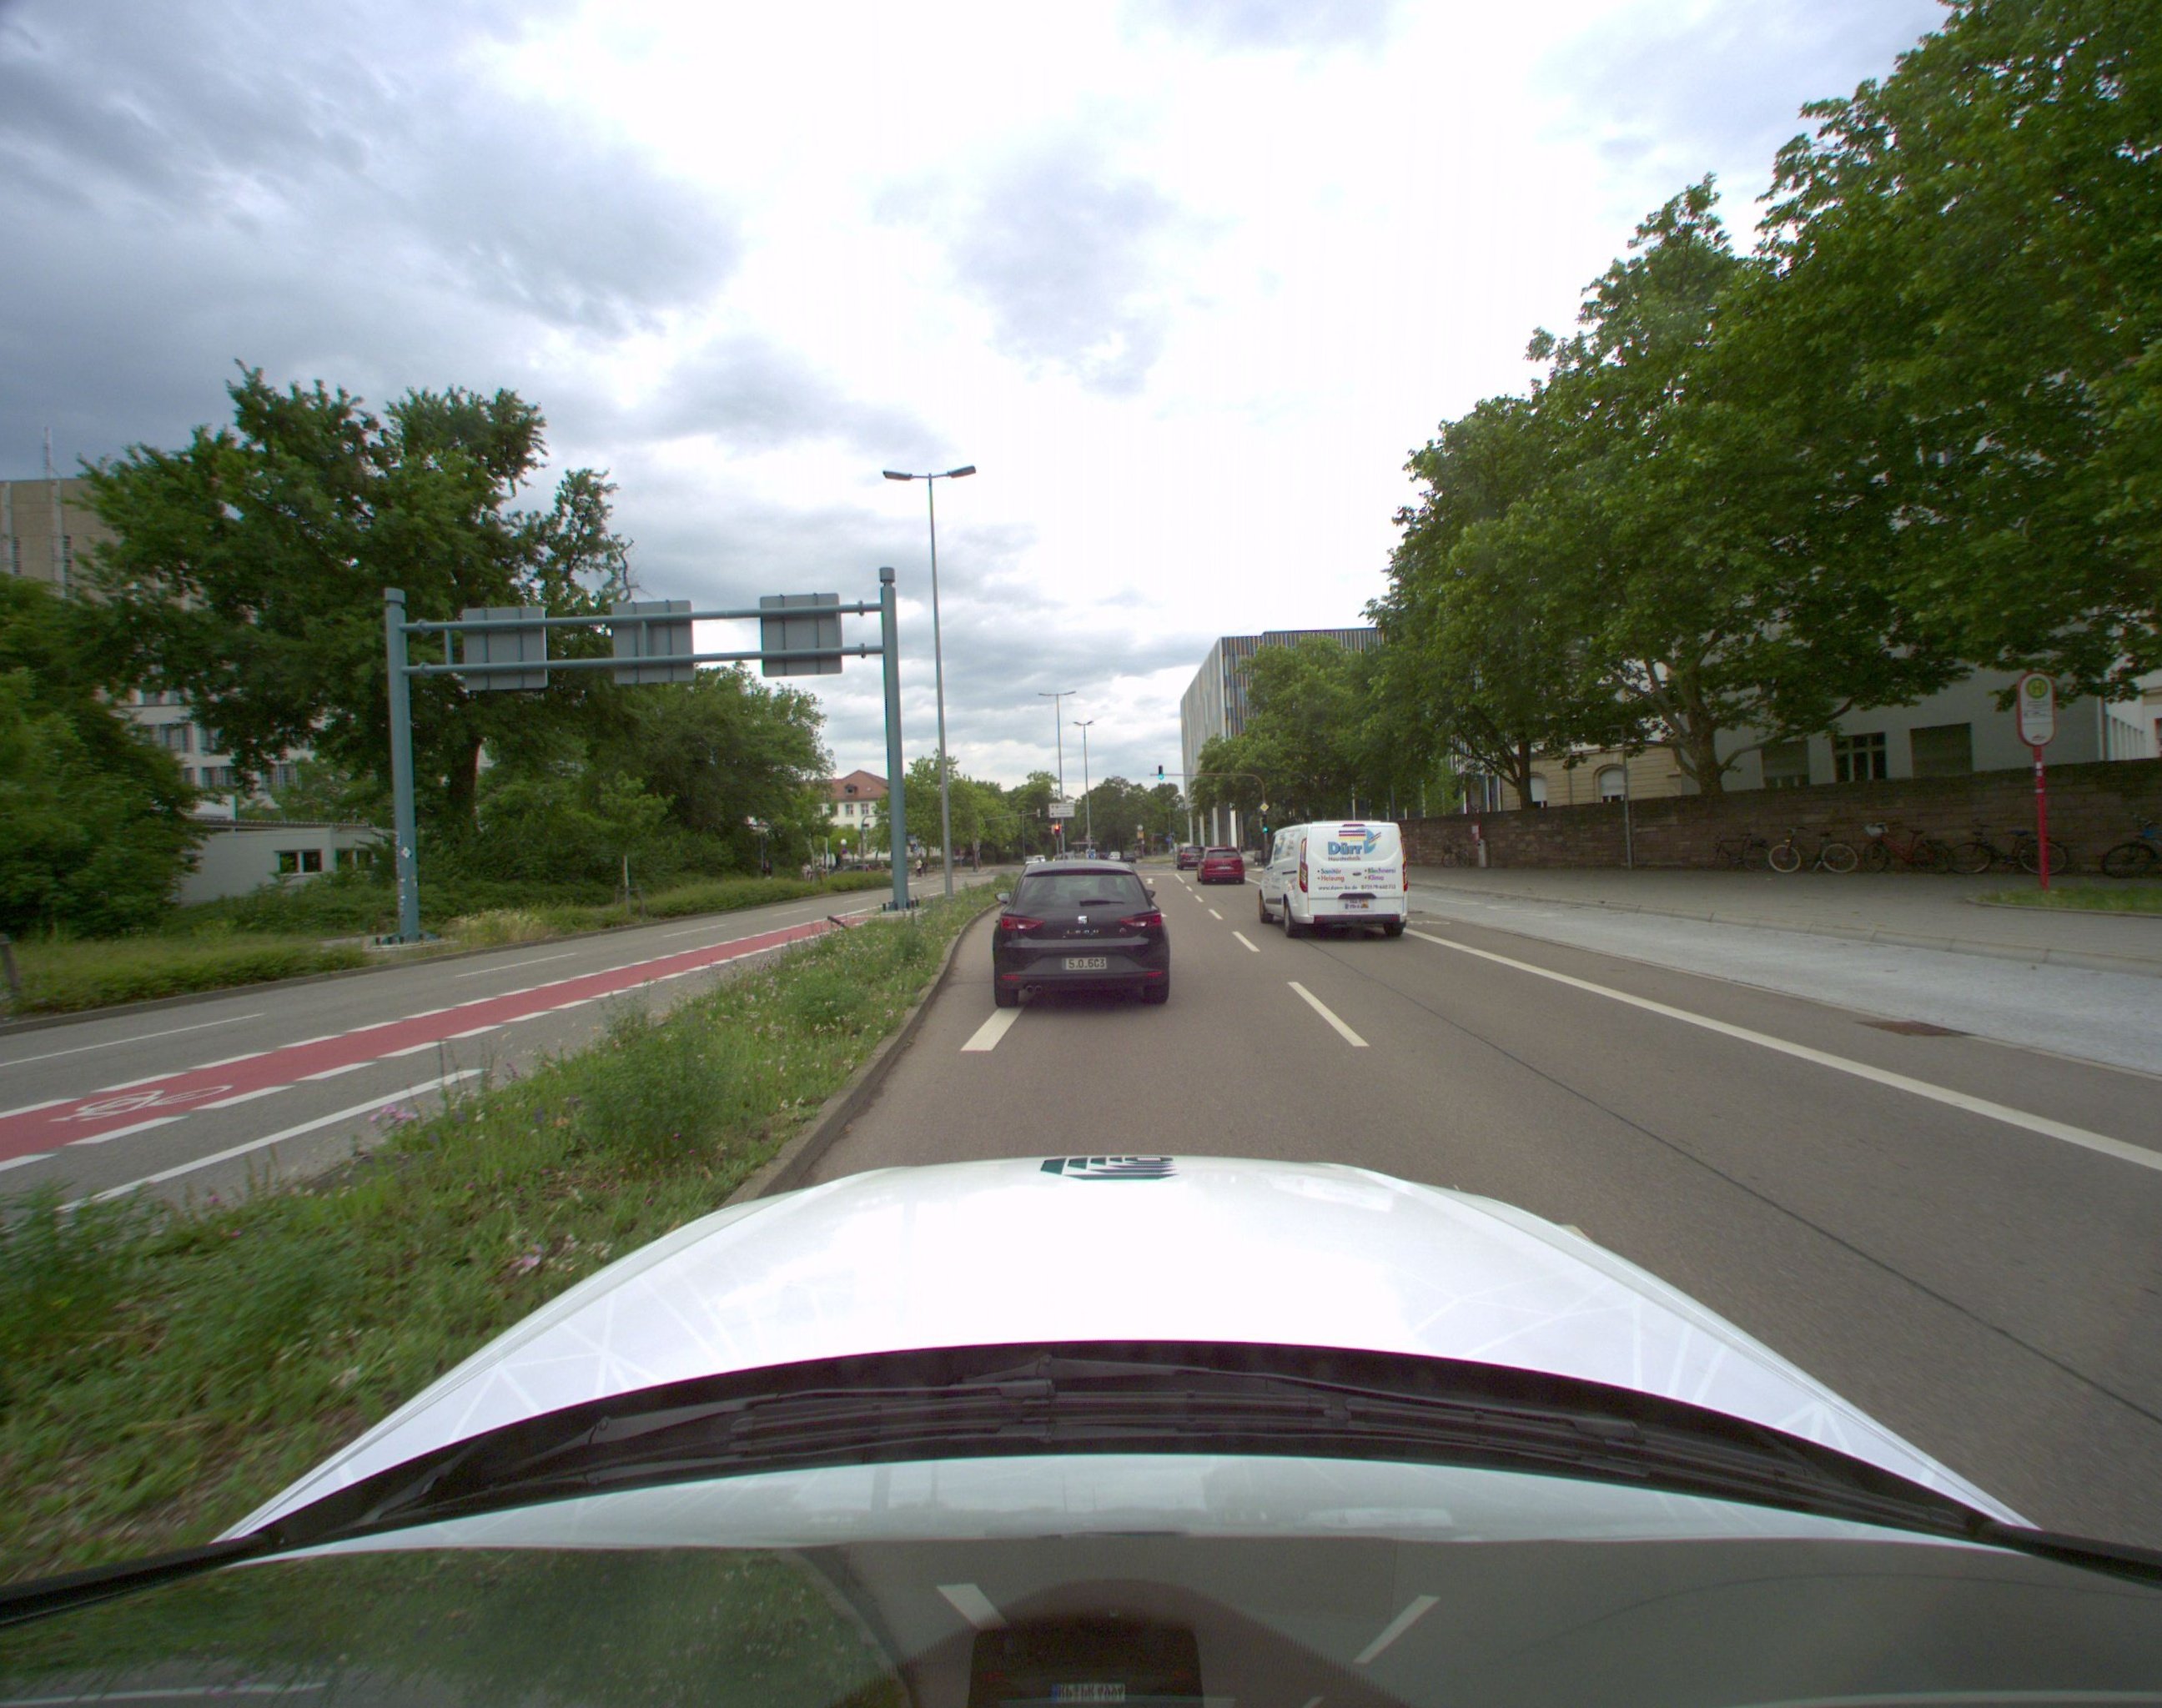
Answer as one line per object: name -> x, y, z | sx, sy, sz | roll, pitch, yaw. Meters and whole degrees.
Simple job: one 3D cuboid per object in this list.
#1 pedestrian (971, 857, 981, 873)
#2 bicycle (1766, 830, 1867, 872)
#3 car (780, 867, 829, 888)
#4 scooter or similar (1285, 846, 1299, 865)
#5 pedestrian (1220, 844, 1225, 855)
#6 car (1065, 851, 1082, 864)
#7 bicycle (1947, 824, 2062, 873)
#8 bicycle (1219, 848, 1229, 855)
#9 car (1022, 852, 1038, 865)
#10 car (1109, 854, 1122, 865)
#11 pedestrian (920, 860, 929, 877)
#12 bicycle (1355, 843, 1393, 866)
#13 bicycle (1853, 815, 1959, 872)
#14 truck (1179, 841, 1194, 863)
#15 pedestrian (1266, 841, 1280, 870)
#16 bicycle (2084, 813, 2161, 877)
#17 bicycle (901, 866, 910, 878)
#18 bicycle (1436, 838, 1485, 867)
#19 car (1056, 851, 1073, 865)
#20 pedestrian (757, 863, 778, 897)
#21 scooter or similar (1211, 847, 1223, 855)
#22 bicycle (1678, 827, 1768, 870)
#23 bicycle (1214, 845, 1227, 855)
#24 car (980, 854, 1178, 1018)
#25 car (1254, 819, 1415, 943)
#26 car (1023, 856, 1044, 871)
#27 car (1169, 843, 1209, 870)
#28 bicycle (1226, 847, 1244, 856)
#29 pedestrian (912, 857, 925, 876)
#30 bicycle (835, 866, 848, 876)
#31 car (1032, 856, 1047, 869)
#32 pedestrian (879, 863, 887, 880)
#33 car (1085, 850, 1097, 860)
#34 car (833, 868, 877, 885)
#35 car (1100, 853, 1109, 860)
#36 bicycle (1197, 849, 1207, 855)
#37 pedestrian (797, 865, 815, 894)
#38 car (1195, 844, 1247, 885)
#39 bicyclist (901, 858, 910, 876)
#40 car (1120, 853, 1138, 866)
pedestrian -> -11.080, 1.138, 86.043 | 0.872, 1.586, 0.543 | -4, 0, -3
bicycle -> 18.259, -0.074, 20.269 | 0.654, 0.951, 1.762 | -4, 0, -13
car -> -25.558, 2.168, 75.479 | 4.055, 1.452, 1.616 | -3, 6, -14
scooter or similar -> 14.240, 0.092, 54.860 | 0.428, 1.179, 1.714 | -5, 0, 29
pedestrian -> 18.589, -0.632, 107.045 | 0.469, 1.361, 0.447 | -4, 0, 14
car -> -1.024, 0.436, 112.684 | 1.912, 1.664, 4.404 | -4, 0, 4
bicycle -> 19.085, -0.099, 16.870 | 0.416, 0.942, 1.518 | -4, 0, -13
bicycle -> 20.105, -0.338, 114.355 | 1.444, 0.857, 0.362 | -4, 0, -23
car -> -7.903, 0.674, 126.973 | 1.898, 1.716, 4.005 | -4, 0, 4
car -> 4.837, 0.735, 115.757 | 1.610, 1.354, 4.001 | -5, 0, 1
pedestrian -> -15.078, 1.414, 78.416 | 0.791, 1.558, 0.695 | -2, -3, -16
bicycle -> 15.012, 0.038, 41.791 | 0.940, 1.073, 1.962 | -5, 0, -11
bicycle -> 18.690, -0.228, 18.504 | 0.499, 1.221, 1.619 | -4, 0, -13
truck -> 11.657, -0.236, 89.982 | 1.312, 2.243, 3.405 | -4, 0, 4
pedestrian -> 11.977, 0.088, 50.846 | 0.459, 1.739, 0.550 | -4, 0, -35
bicycle -> 19.348, -0.166, 14.556 | 0.598, 1.104, 1.646 | -4, 0, -16
bicycle -> -16.815, 1.737, 78.148 | 0.665, 1.062, 1.615 | -1, -1, -7
bicycle -> 16.008, -0.042, 34.431 | 0.848, 1.127, 1.916 | -5, 0, -11
car -> -1.879, 0.496, 93.979 | 1.759, 1.460, 4.789 | -5, -1, -1
pedestrian -> -16.409, 1.342, 42.641 | 0.617, 1.729, 0.819 | -4, 0, 4
scooter or similar -> 19.489, -0.444, 116.671 | 1.681, 1.106, 0.494 | -4, 0, -28
bicycle -> 17.646, -0.131, 22.428 | 0.722, 1.100, 1.777 | -4, 0, -25
bicycle -> 19.848, -0.582, 116.067 | 1.784, 1.211, 0.564 | -4, 0, -30
car -> 0.007, 0.743, 9.210 | 1.747, 1.432, 3.769 | -1, 0, 1
car -> 4.530, 0.417, 15.253 | 1.957, 1.972, 4.350 | -1, 0, 5
car -> -5.201, 1.028, 89.562 | 1.600, 1.381, 3.813 | -4, 0, 4
car -> 7.339, 0.170, 55.800 | 1.910, 1.664, 4.110 | -4, 0, -3
bicycle -> 17.884, -0.327, 94.586 | 1.891, 0.898, 0.693 | -4, 0, -17
pedestrian -> -15.283, 1.157, 76.530 | 0.846, 1.740, 0.821 | -1, -5, -35
bicycle -> -28.248, 1.996, 95.972 | 1.404, 1.052, 0.585 | -4, 0, -16
car -> -4.983, 0.993, 98.118 | 1.701, 1.431, 4.222 | -4, 0, -3
pedestrian -> -18.522, 1.656, 76.325 | 0.572, 1.526, 0.843 | -3, -5, -20
car -> 1.599, 0.152, 134.470 | 1.692, 1.503, 4.005 | -4, 0, -3
car -> -21.115, 2.065, 76.177 | 3.646, 1.223, 1.563 | -2, 7, -3
car -> 4.331, 0.451, 147.402 | 1.500, 1.193, 3.163 | -4, 0, 1
bicycle -> 19.348, -0.357, 130.254 | 1.378, 0.941, 0.489 | -3, 0, 11
pedestrian -> -16.326, 1.523, 48.429 | 0.697, 1.636, 0.672 | -4, 0, 4
car -> 5.996, 0.423, 35.249 | 1.940, 1.624, 3.755 | -1, 1, 5
bicyclist -> -16.839, 1.241, 78.118 | 0.665, 1.635, 0.959 | -1, -1, -8
car -> 5.892, 0.636, 100.458 | 1.892, 1.354, 3.883 | -4, 0, 1
